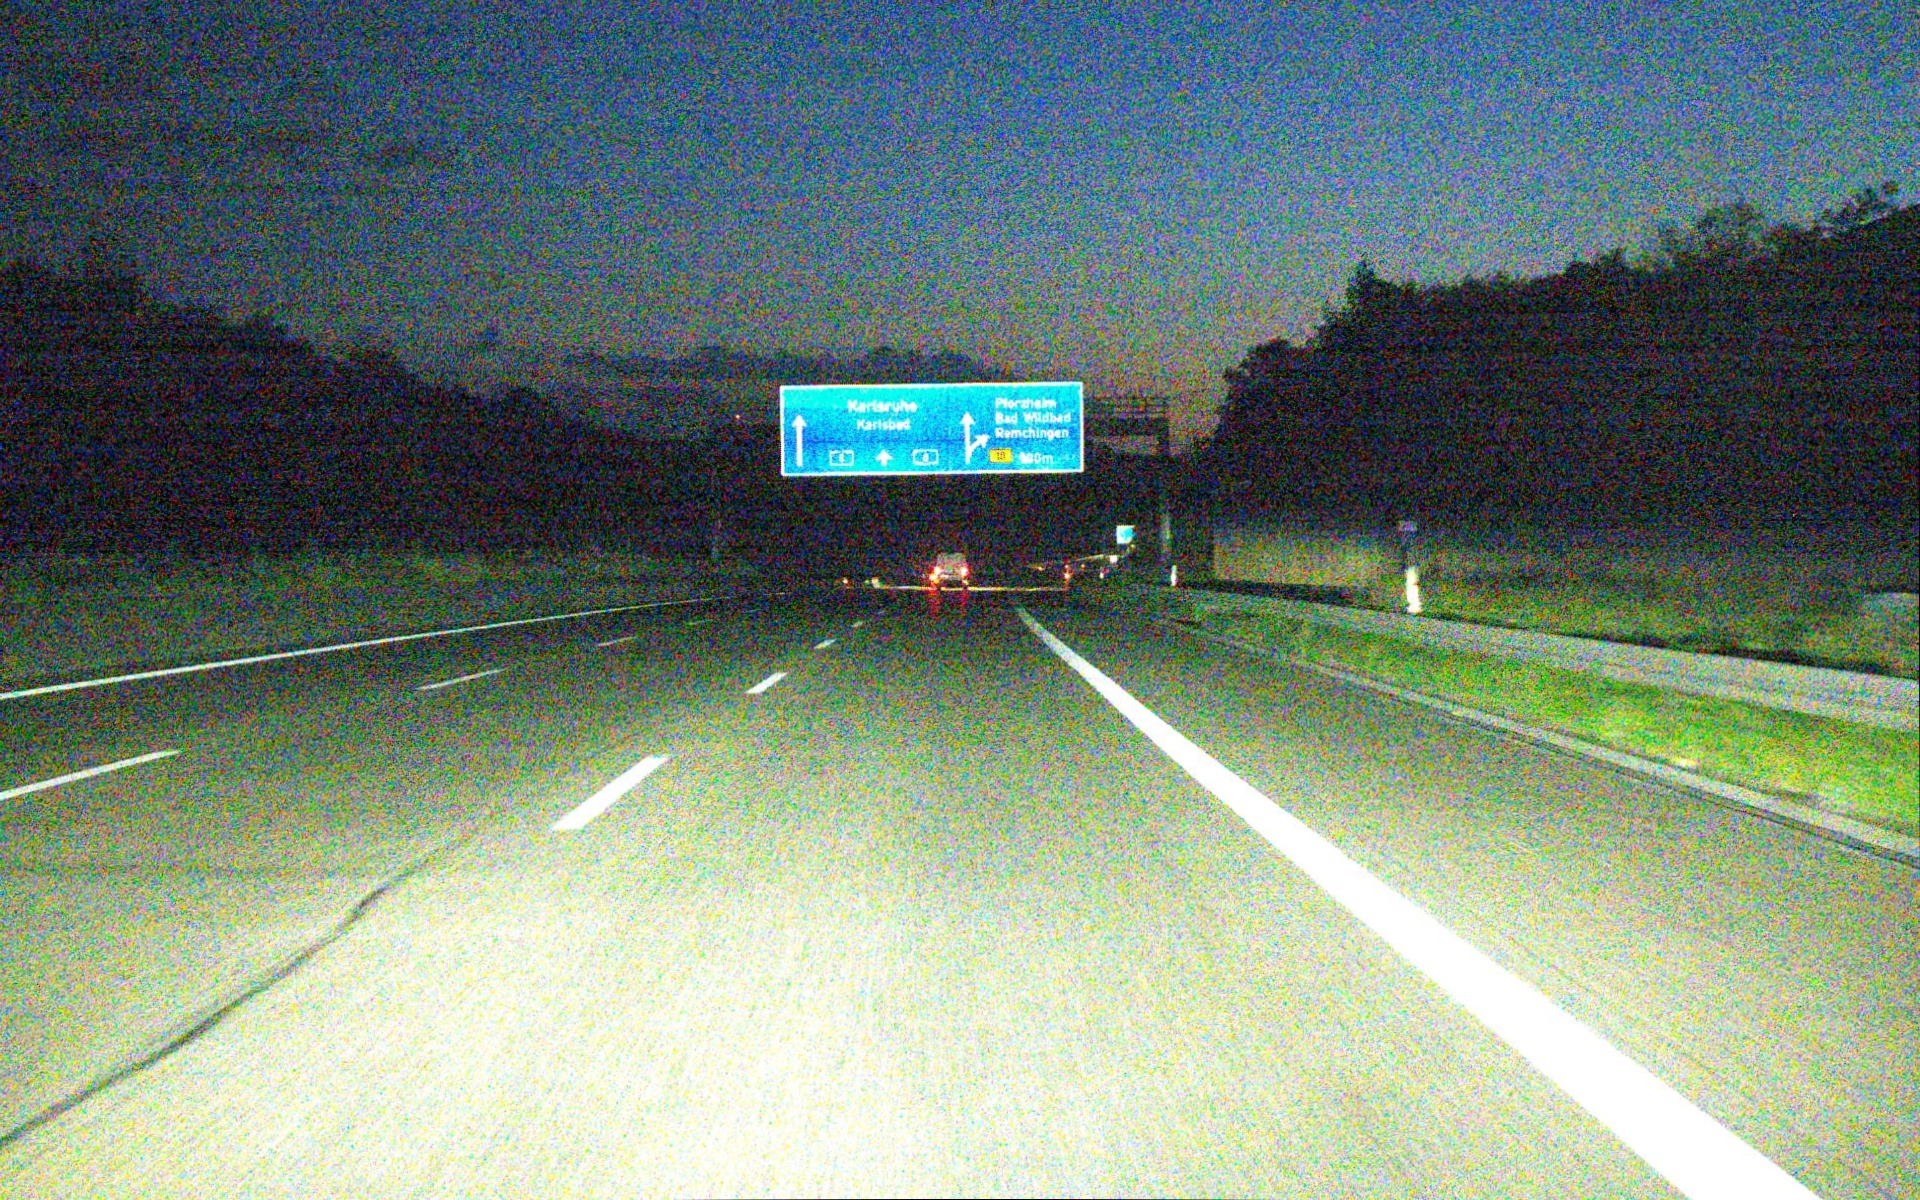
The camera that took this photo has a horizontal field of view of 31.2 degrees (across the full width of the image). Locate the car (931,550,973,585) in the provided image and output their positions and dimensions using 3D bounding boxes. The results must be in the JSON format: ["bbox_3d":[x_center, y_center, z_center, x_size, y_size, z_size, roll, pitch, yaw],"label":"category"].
[{"bbox_3d":[-0.527,-2.181,232.844,2.511,2.306,4.970,0,0,3],"label":"car"}]
